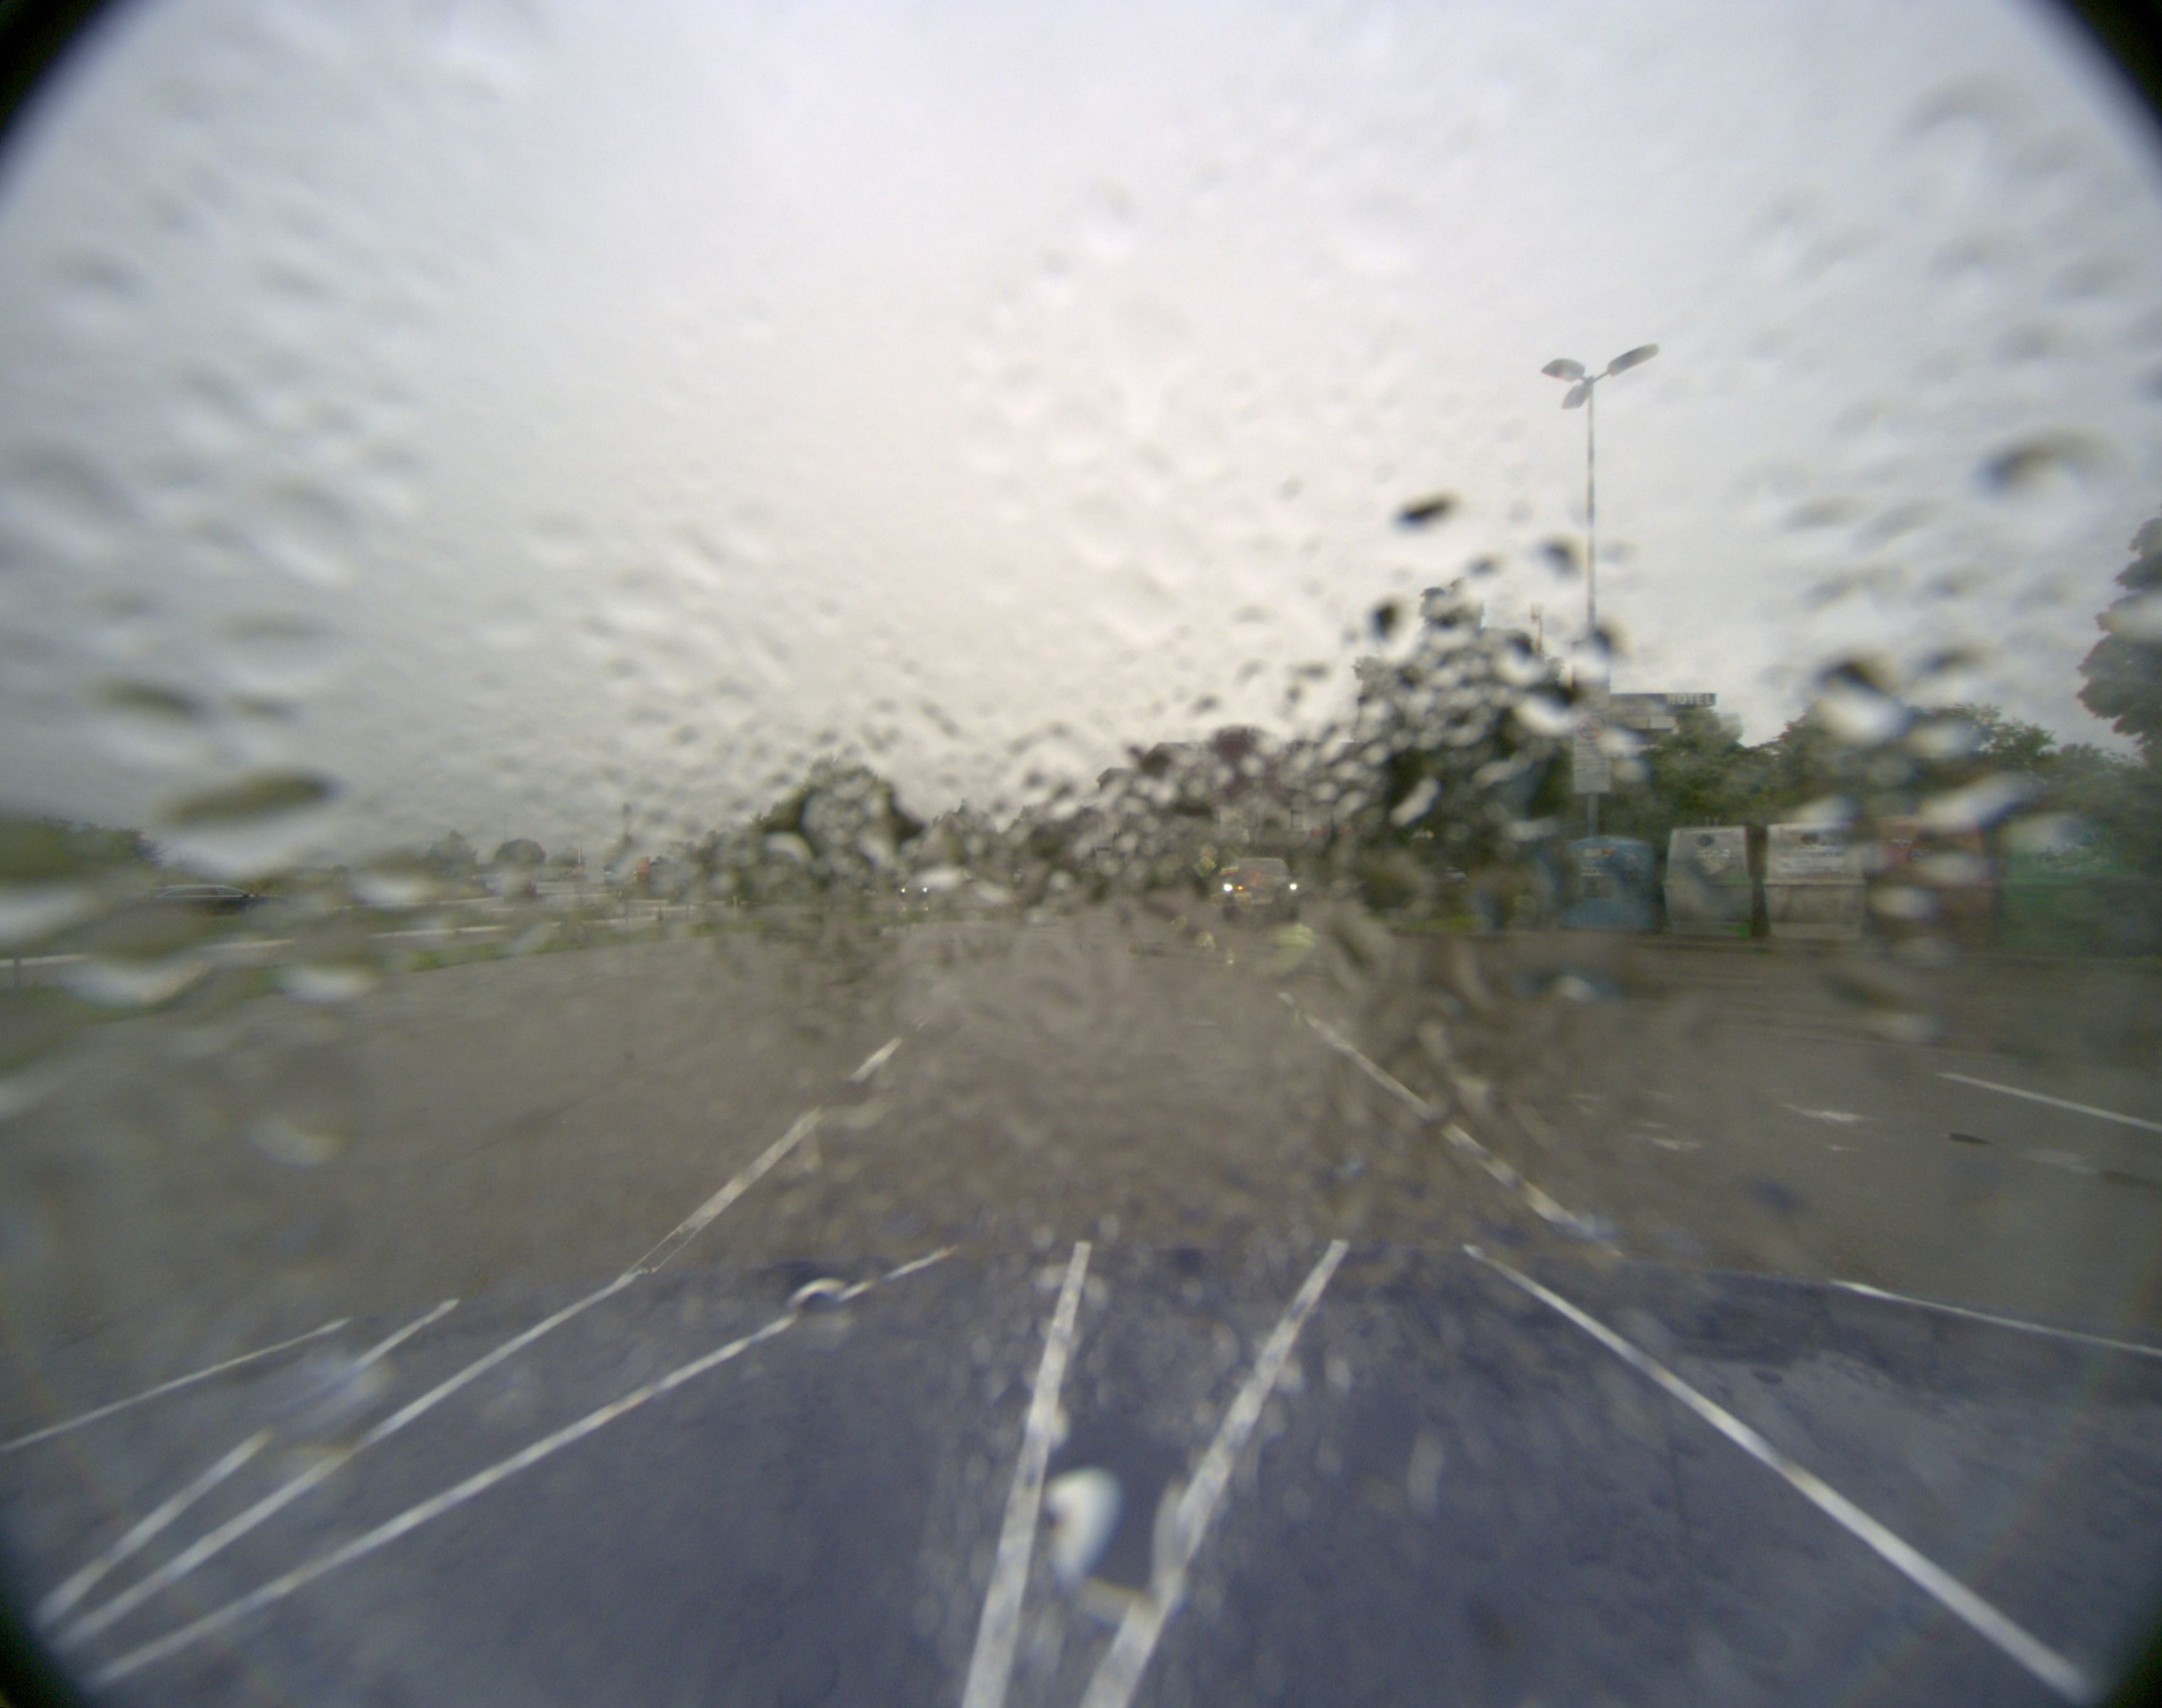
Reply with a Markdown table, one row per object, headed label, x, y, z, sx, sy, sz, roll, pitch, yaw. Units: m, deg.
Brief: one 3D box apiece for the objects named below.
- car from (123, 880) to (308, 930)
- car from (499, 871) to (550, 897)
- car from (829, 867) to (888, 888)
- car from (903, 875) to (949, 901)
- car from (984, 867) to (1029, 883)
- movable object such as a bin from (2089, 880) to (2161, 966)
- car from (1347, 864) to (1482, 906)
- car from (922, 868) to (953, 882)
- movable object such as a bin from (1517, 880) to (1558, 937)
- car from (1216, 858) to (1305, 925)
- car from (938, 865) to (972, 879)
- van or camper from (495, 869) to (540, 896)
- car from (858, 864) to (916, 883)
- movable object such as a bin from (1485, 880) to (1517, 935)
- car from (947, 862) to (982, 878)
| label | x | y | z | sx | sy | sz | roll | pitch | yaw |
| --- | --- | --- | --- | --- | --- | --- | --- | --- | --- |
| car | -35.675 | 2.049 | 31.520 | 1.888 | 1.674 | 4.676 | 1 | 1 | 18 |
| car | -37.749 | 2.005 | 51.645 | 2.003 | 1.593 | 4.515 | -2 | 0 | -26 |
| car | -19.877 | 2.105 | 68.056 | 4.606 | 1.711 | 2.000 | -2 | -1 | -2 |
| car | -9.522 | 2.076 | 46.976 | 1.705 | 1.416 | 4.362 | -2 | -1 | 3 |
| car | -7.271 | 2.009 | 74.455 | 4.358 | 1.416 | 1.850 | -1 | -1 | -3 |
| movable object such as a bin | 11.692 | 0.758 | 8.509 | 0.510 | 0.917 | 0.437 | 0 | -1 | -39 |
| car | 12.374 | 1.136 | 28.492 | 1.873 | 1.440 | 4.319 | 0 | -1 | -32 |
| car | -16.708 | 2.406 | 88.290 | 3.716 | 1.540 | 1.670 | -3 | -1 | 43 |
| movable object such as a bin | 7.940 | 0.943 | 13.223 | 0.405 | 0.943 | 0.450 | -2 | 0 | 1 |
| car | 4.790 | 0.903 | 20.035 | 1.996 | 1.565 | 4.505 | -1 | -1 | 15 |
| car | -14.993 | 2.122 | 90.094 | 3.878 | 1.560 | 1.753 | -3 | -1 | 38 |
| van or camper | -45.003 | 2.244 | 60.645 | 4.833 | 2.001 | 2.005 | 0 | -1 | 42 |
| car | -19.989 | 2.038 | 78.404 | 5.374 | 1.711 | 2.000 | -2 | -1 | -2 |
| movable object such as a bin | 7.512 | 0.955 | 13.598 | 0.434 | 0.943 | 0.474 | -2 | 0 | 25 |
| car | -14.114 | 1.935 | 92.122 | 3.989 | 1.717 | 1.994 | -3 | -1 | 37 |
